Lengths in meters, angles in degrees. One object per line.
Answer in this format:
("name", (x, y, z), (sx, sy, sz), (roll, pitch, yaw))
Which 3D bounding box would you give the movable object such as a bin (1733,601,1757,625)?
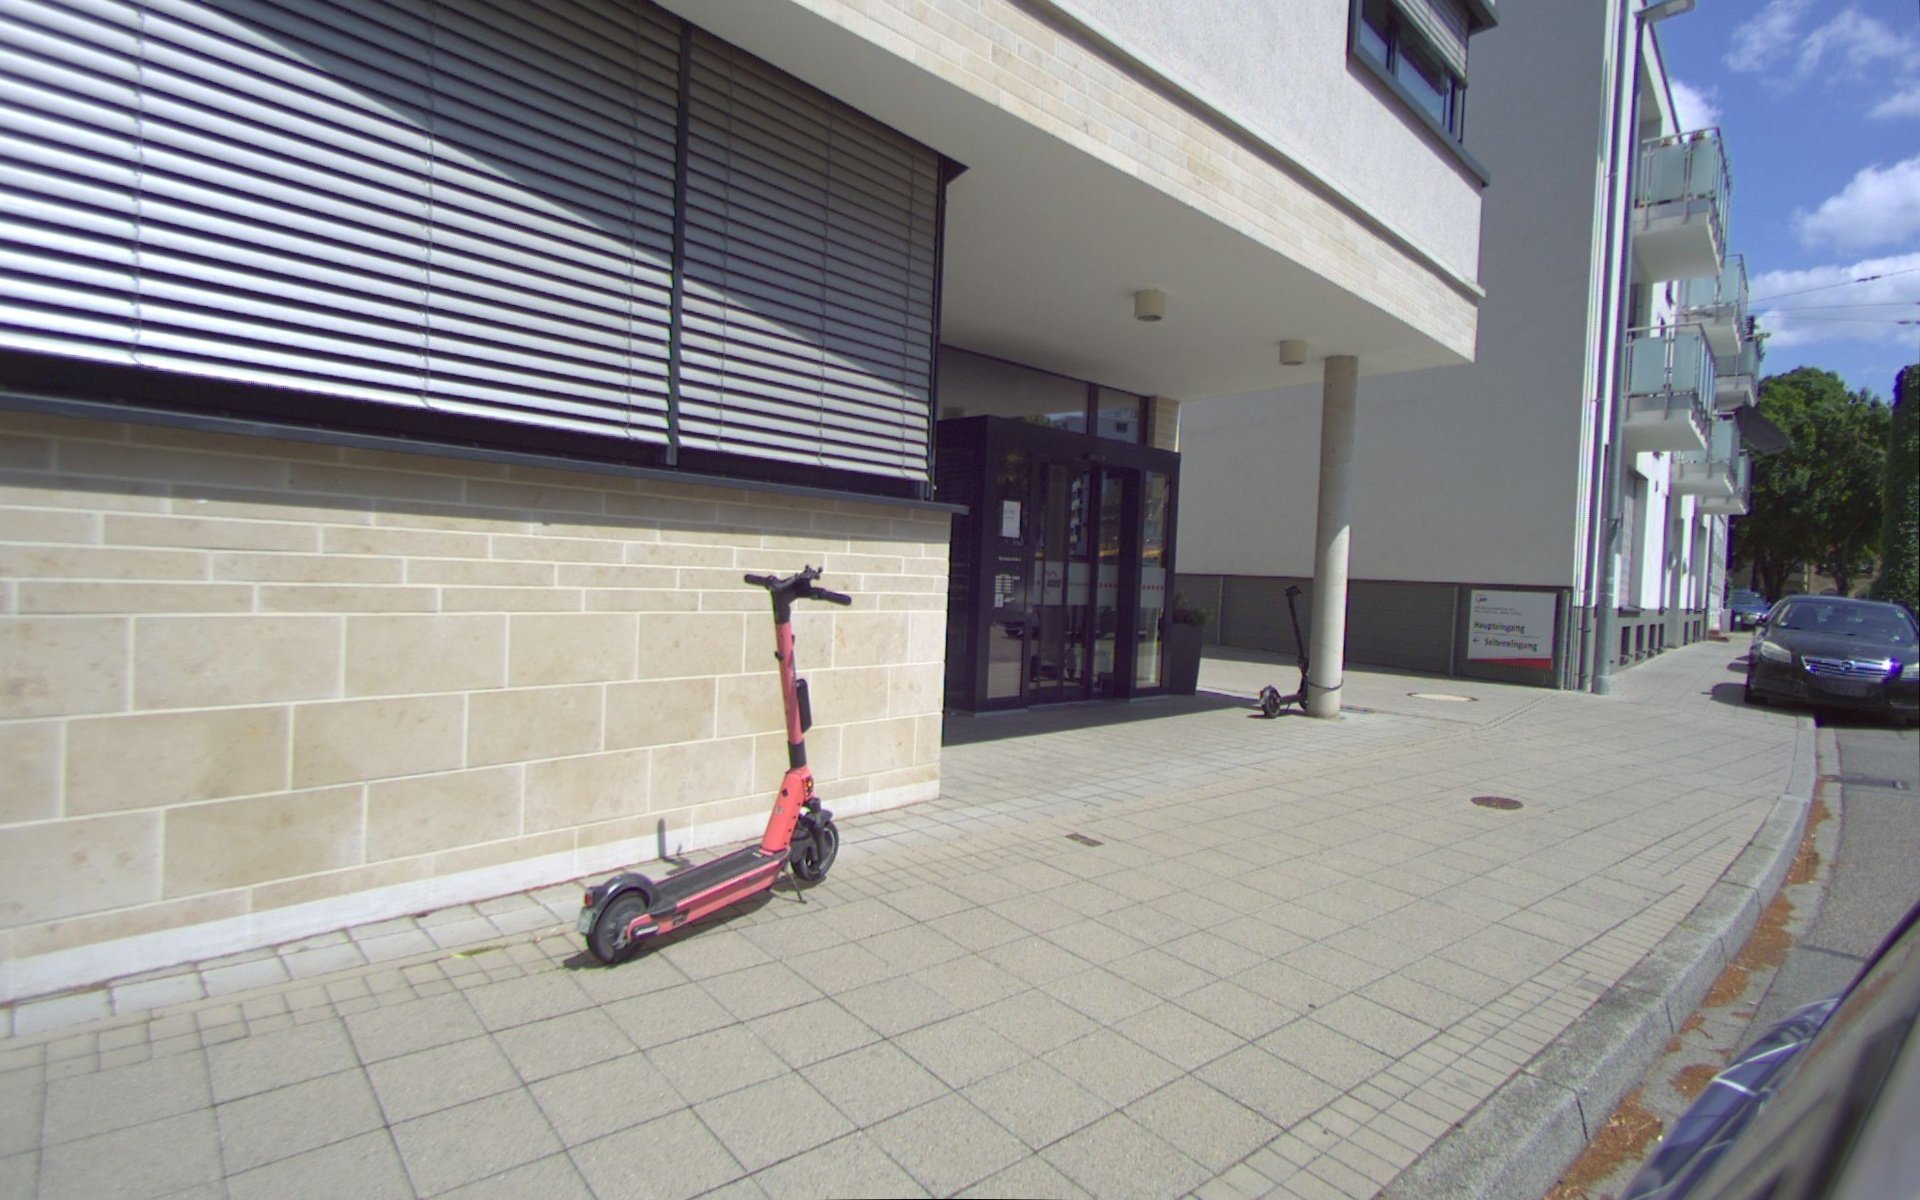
("movable object such as a bin", (33.284, 0.541, 42.902), (0.622, 0.973, 0.618), (1, 1, -33))

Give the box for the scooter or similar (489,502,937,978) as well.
("scooter or similar", (-0.767, 0.355, 3.409), (0.581, 1.276, 1.347), (5, 3, 40))

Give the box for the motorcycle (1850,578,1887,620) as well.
("motorcycle", (30.356, -0.041, 33.820), (0.800, 1.369, 2.301), (2, 2, 44))

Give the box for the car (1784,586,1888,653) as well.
("car", (24.487, 0.487, 28.258), (3.736, 1.630, 1.730), (-1, 5, -43))

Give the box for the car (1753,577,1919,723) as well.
("car", (11.786, 0.532, 13.475), (1.798, 1.527, 4.485), (7, 5, 38))

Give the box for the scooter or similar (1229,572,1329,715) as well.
("scooter or similar", (2.993, 0.373, 9.425), (0.421, 1.226, 1.296), (2, 1, 38))

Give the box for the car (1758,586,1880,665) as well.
("car", (19.306, 0.496, 22.690), (1.728, 1.450, 3.978), (8, 6, 44))

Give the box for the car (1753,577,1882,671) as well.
("car", (16.032, 0.373, 18.994), (1.592, 1.450, 3.653), (7, 5, 40))
